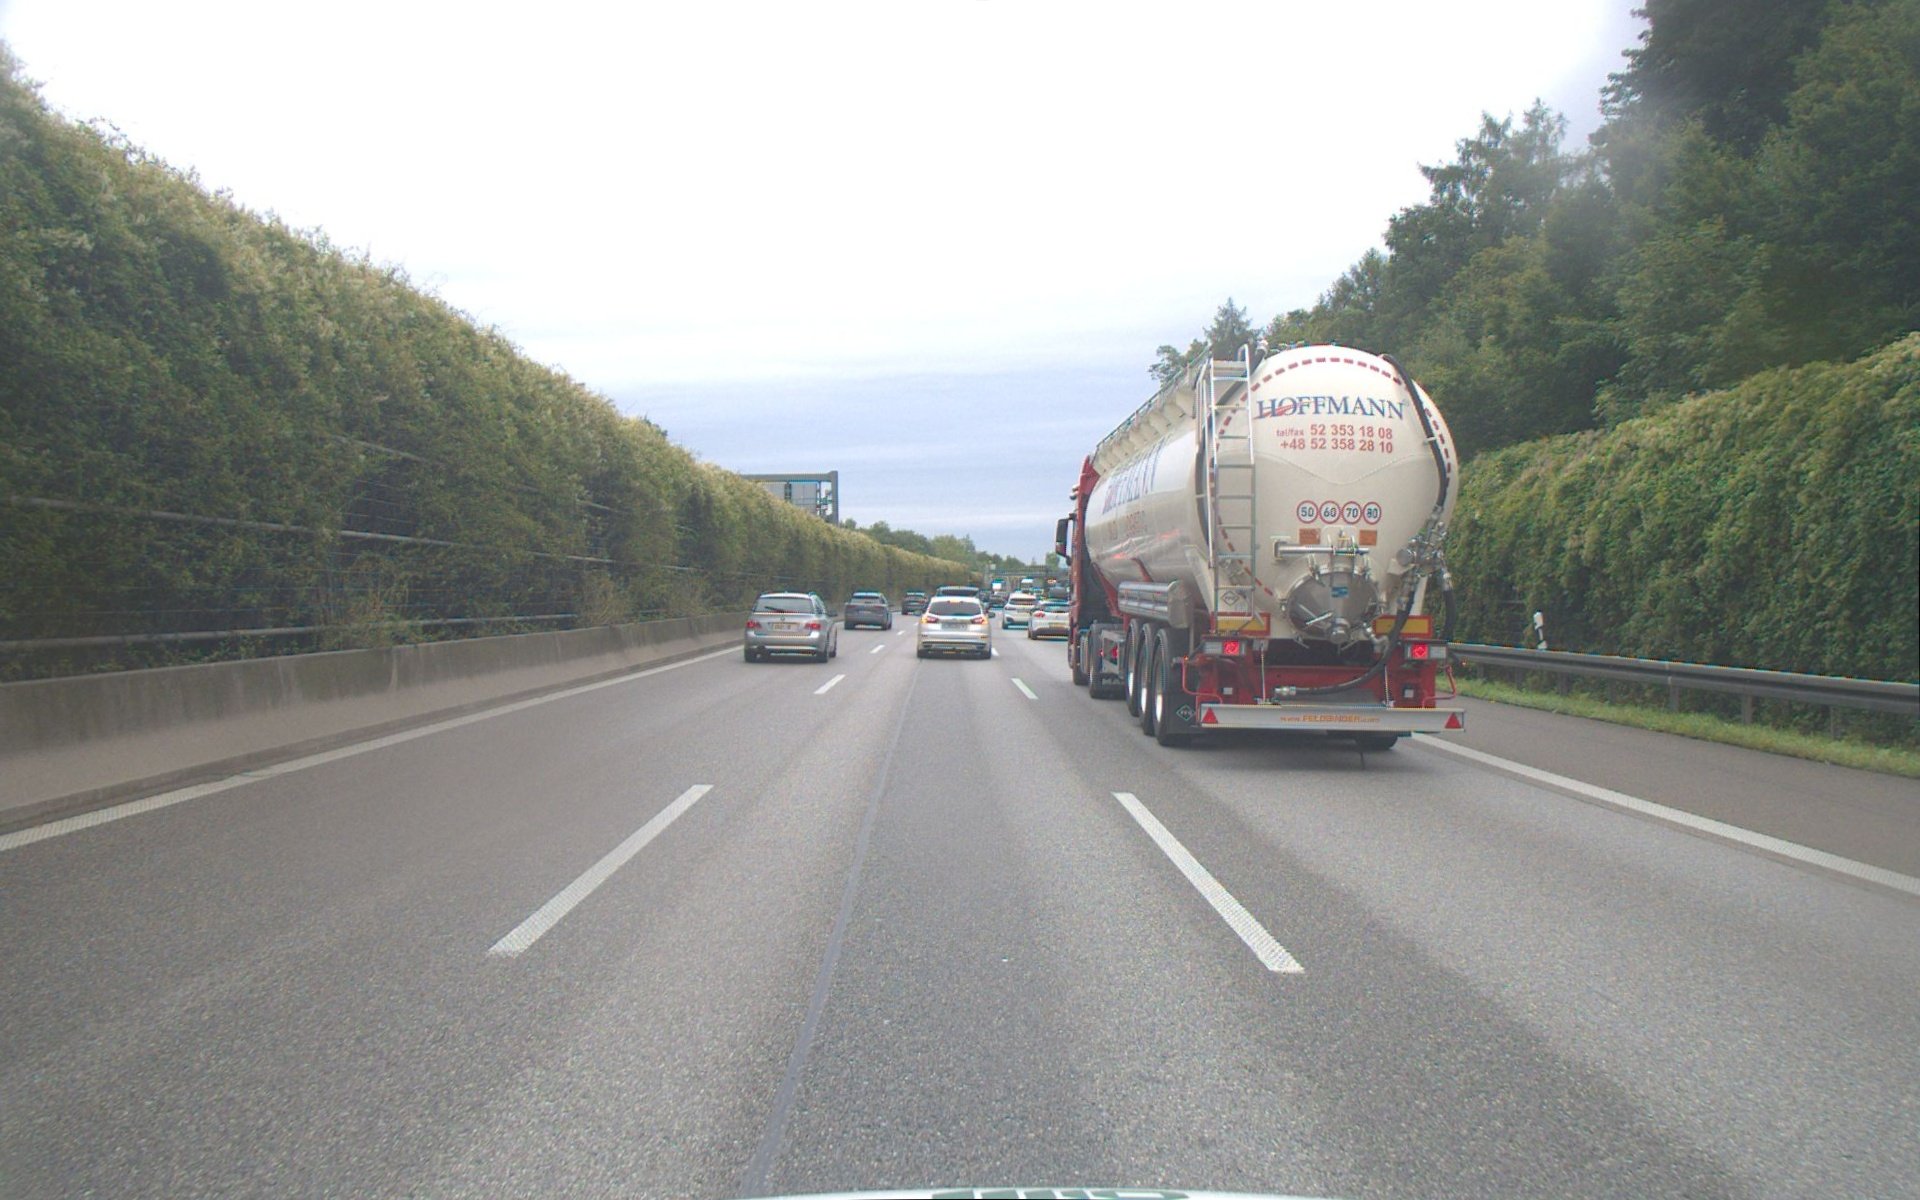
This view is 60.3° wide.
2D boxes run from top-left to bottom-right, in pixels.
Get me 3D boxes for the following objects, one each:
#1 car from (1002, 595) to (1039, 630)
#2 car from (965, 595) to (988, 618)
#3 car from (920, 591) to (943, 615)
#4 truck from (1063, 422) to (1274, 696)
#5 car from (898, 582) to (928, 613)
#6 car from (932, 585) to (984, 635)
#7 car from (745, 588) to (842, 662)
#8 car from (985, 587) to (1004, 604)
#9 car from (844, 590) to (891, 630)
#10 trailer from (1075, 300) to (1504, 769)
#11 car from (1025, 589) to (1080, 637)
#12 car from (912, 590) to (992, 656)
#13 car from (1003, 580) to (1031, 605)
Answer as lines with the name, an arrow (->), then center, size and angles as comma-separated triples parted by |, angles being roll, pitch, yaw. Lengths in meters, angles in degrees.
car -> 2.797, 0.579, 76.094 | 1.654, 1.533, 3.872 | 1, 0, 2
car -> 1.271, 0.495, 128.843 | 1.753, 1.811, 3.871 | 0, 0, 0
car -> -2.443, 0.237, 140.812 | 1.953, 2.049, 3.999 | 0, 0, -1
truck -> 3.269, -0.592, 27.596 | 2.640, 3.981, 6.556 | 1, 0, 0
car -> -3.080, -0.172, 109.296 | 1.953, 2.049, 3.840 | 0, 0, -1
car -> -0.105, 0.335, 59.304 | 1.655, 1.532, 3.871 | 5, 2, -2
car -> -3.652, 0.509, 37.029 | 1.685, 1.494, 5.030 | 1, 1, 0
car -> 3.339, -0.458, 158.249 | 1.653, 1.566, 3.873 | 1, 1, 4
car -> -3.707, 0.390, 67.159 | 1.685, 1.538, 5.029 | 1, 0, -1
trailer -> 3.301, -0.544, 20.808 | 2.614, 4.008, 13.128 | 1, 0, -1
car -> 3.310, 0.433, 59.984 | 1.778, 1.654, 5.031 | 1, 0, 1
car -> -0.202, 0.533, 41.169 | 1.853, 1.530, 5.029 | 1, 0, 0
car -> 3.553, -0.476, 103.946 | 1.654, 1.533, 3.871 | 1, 0, 0
